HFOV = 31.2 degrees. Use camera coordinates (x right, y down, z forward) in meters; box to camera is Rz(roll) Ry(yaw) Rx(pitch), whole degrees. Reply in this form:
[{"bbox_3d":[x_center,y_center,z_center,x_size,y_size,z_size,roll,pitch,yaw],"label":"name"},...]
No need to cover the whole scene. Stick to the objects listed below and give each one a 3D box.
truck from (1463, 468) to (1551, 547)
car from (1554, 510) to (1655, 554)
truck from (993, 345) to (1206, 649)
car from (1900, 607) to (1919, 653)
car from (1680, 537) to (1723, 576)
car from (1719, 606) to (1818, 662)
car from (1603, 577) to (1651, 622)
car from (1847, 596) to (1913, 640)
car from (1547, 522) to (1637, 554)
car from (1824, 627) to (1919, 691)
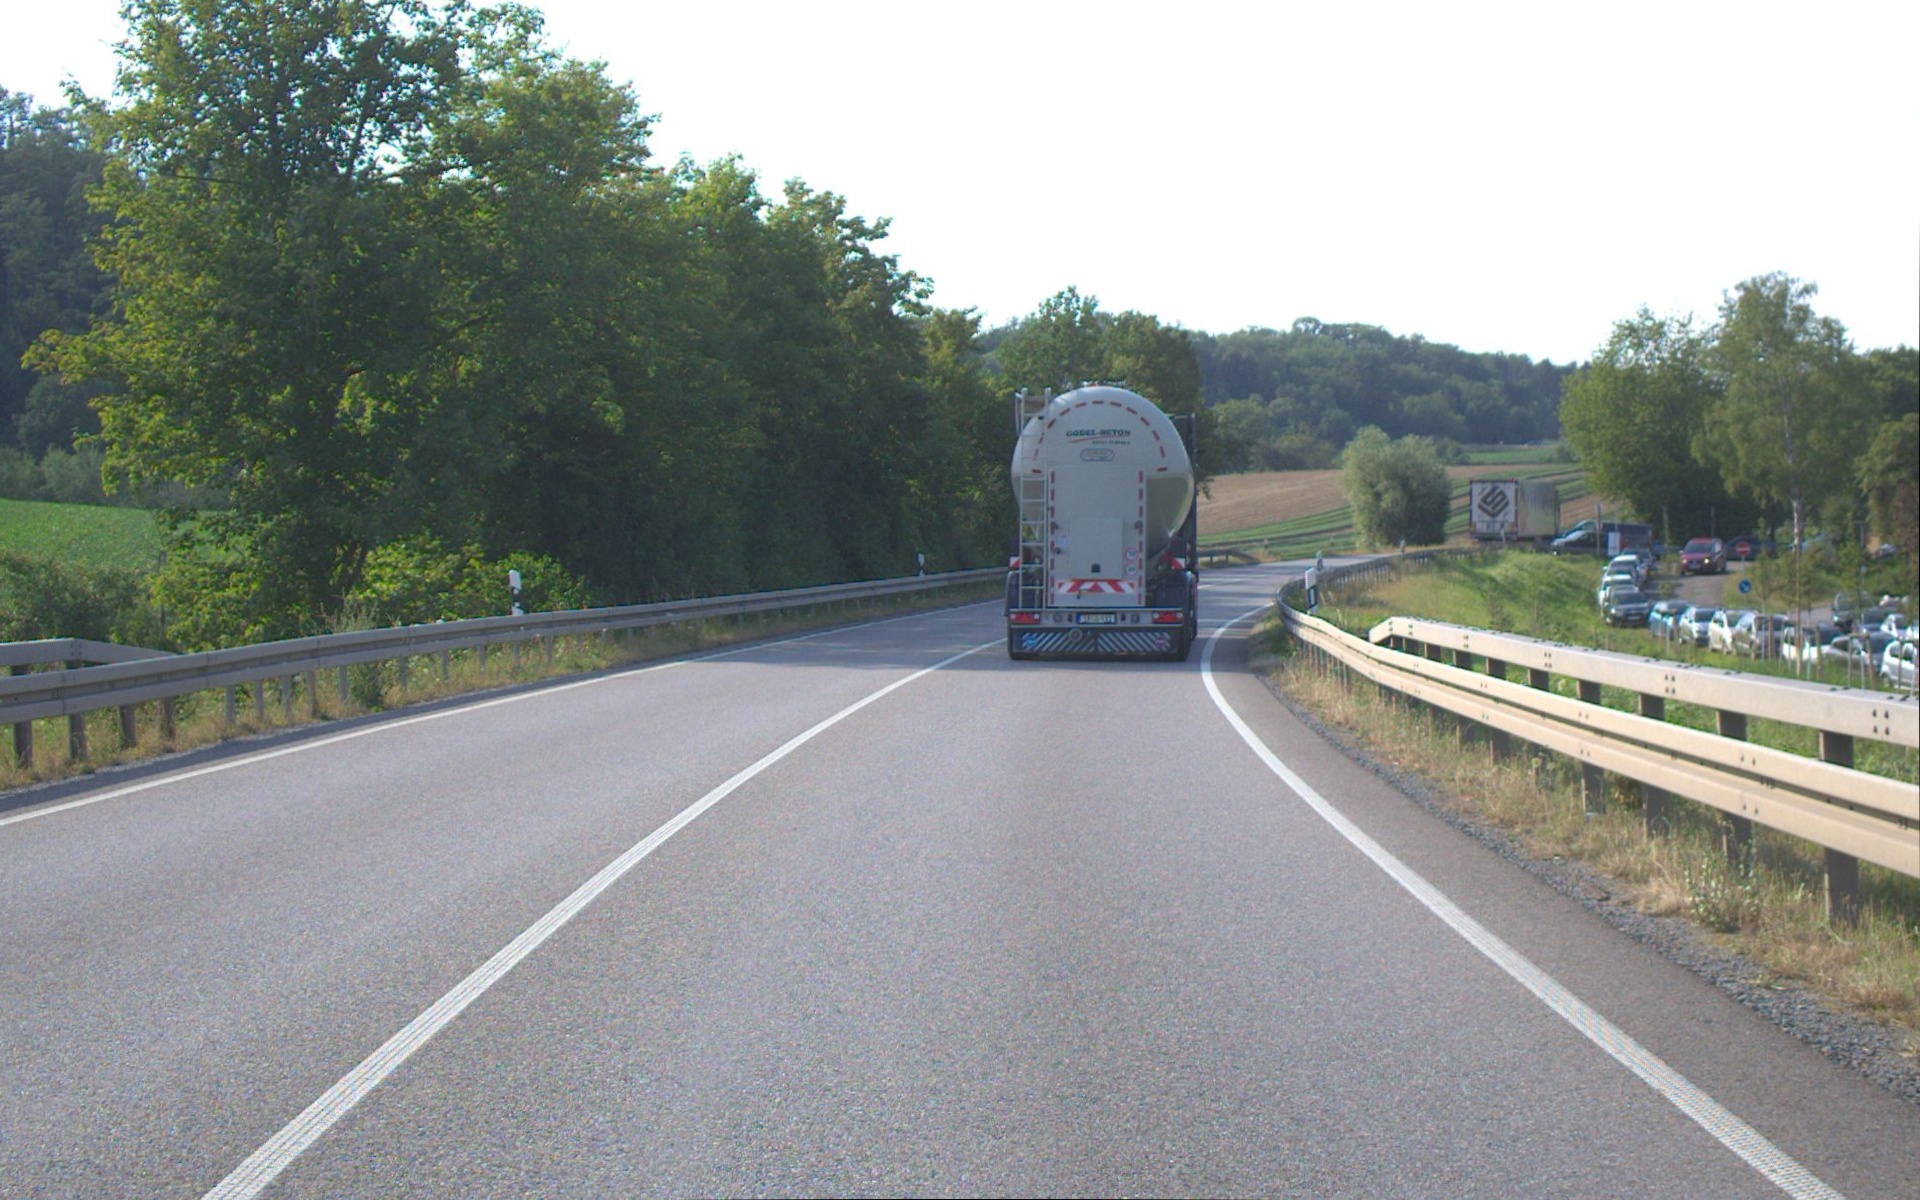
[{"bbox_3d":[30.713,-5.254,192.569,3.186,4.213,13.163,0,2,16],"label":"truck"},{"bbox_3d":[35.190,-3.726,187.617,5.143,1.937,1.974,6,3,15],"label":"car"},{"bbox_3d":[2.332,-1.552,53.456,2.893,4.128,13.171,0,1,4],"label":"truck"},{"bbox_3d":[33.868,1.044,118.998,1.701,1.505,3.945,-1,1,2],"label":"car"},{"bbox_3d":[38.087,-2.232,176.681,1.893,1.681,5.085,-3,3,10],"label":"car"},{"bbox_3d":[28.038,1.163,119.332,1.892,1.554,4.784,-4,3,-5],"label":"car"},{"bbox_3d":[28.666,-0.030,147.879,1.893,1.554,4.781,-3,3,10],"label":"car"},{"bbox_3d":[34.321,0.669,128.370,1.701,1.394,4.784,-3,1,7],"label":"car"},{"bbox_3d":[33.819,-3.327,183.889,4.309,1.395,1.721,3,3,-12],"label":"car"},{"bbox_3d":[28.468,1.799,106.220,1.892,1.554,4.784,-4,3,-5],"label":"car"}]
